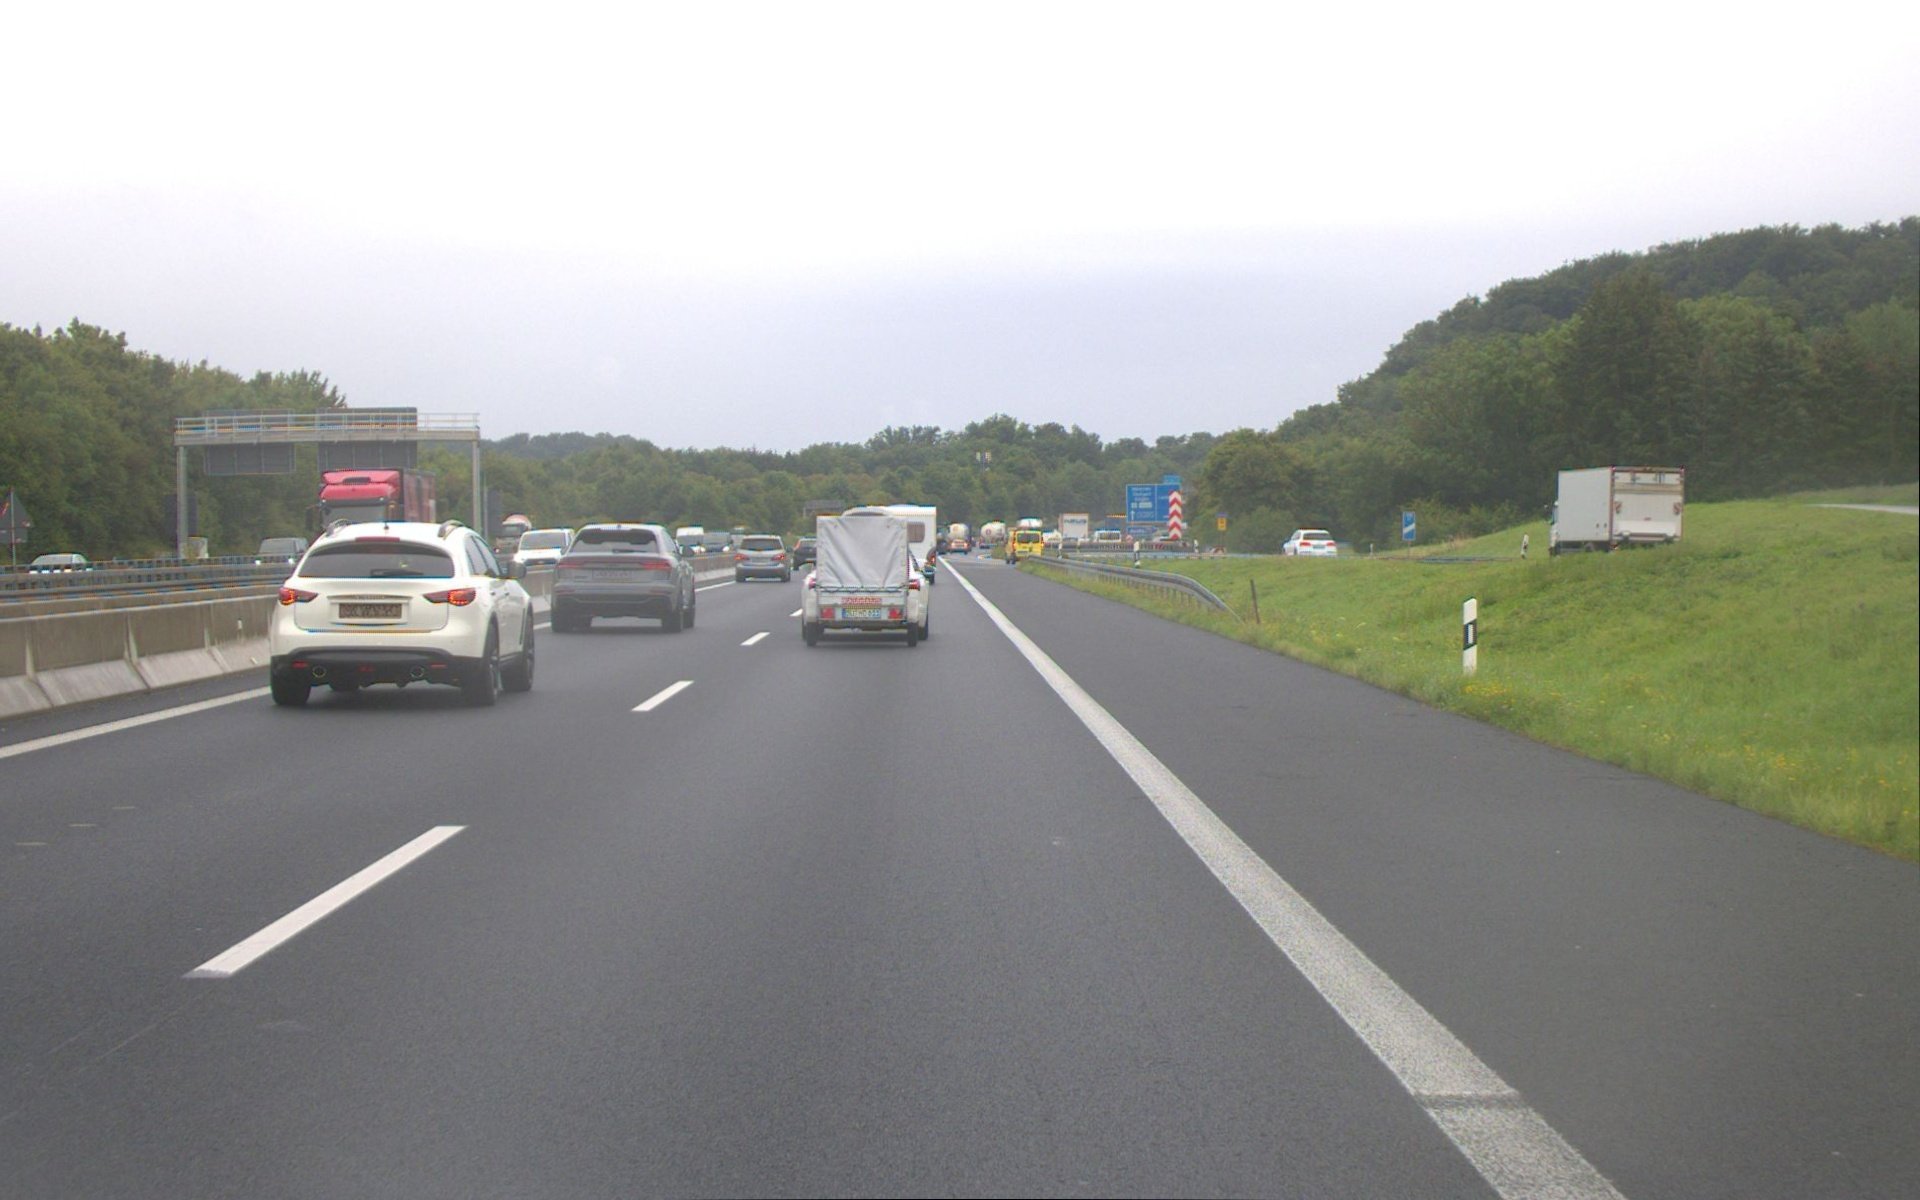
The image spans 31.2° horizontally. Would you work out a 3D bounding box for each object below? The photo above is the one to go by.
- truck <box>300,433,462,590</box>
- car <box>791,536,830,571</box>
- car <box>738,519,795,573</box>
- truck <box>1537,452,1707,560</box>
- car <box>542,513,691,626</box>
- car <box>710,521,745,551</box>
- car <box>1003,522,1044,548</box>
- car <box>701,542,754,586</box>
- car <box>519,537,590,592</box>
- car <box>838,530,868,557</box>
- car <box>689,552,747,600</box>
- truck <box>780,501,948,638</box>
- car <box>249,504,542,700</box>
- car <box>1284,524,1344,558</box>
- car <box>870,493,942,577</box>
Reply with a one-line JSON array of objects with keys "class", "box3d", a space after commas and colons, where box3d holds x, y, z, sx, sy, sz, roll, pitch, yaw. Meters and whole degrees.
[{"class": "truck", "box3d": [-18.297, -2.782, 109.292, 3.400, 4.717, 10.486, 1, 1, 0]}, {"class": "car", "box3d": [-6.997, -2.184, 161.070, 1.645, 1.568, 4.000, 1, 1, 0]}, {"class": "car", "box3d": [-6.574, -1.847, 117.006, 1.738, 1.787, 4.000, 1, 1, -1]}, {"class": "truck", "box3d": [23.401, -3.286, 122.080, 3.824, 3.646, 8.273, 1, 1, -4]}, {"class": "car", "box3d": [-5.453, -0.511, 55.053, 1.975, 1.697, 4.803, 1, 1, -1]}, {"class": "car", "box3d": [-14.557, -4.012, 215.365, 1.993, 1.830, 4.680, 1, 1, -2]}, {"class": "car", "box3d": [3.784, -3.885, 205.704, 1.993, 1.546, 4.001, 1, 1, -6]}, {"class": "car", "box3d": [-9.023, -1.416, 133.753, 1.819, 1.656, 4.017, 0, 1, 0]}, {"class": "car", "box3d": [-14.418, -1.294, 122.566, 1.993, 1.856, 5.222, -2, 1, -1]}, {"class": "car", "box3d": [-6.287, -3.325, 202.974, 1.645, 1.568, 4.000, 1, 1, 0]}, {"class": "car", "box3d": [-8.696, -0.873, 123.664, 1.819, 1.656, 4.017, 0, 1, 0]}, {"class": "truck", "box3d": [-1.374, -0.478, 49.504, 2.242, 1.833, 6.585, 0, 1, -2]}, {"class": "car", "box3d": [-5.124, -0.027, 31.816, 2.048, 1.665, 4.541, 1, 1, -1]}, {"class": "car", "box3d": [16.470, -2.741, 160.177, 1.993, 1.546, 4.001, 1, 1, -6]}, {"class": "car", "box3d": [-1.822, -2.177, 114.446, 2.331, 2.716, 6.541, 0, 1, -1]}]
